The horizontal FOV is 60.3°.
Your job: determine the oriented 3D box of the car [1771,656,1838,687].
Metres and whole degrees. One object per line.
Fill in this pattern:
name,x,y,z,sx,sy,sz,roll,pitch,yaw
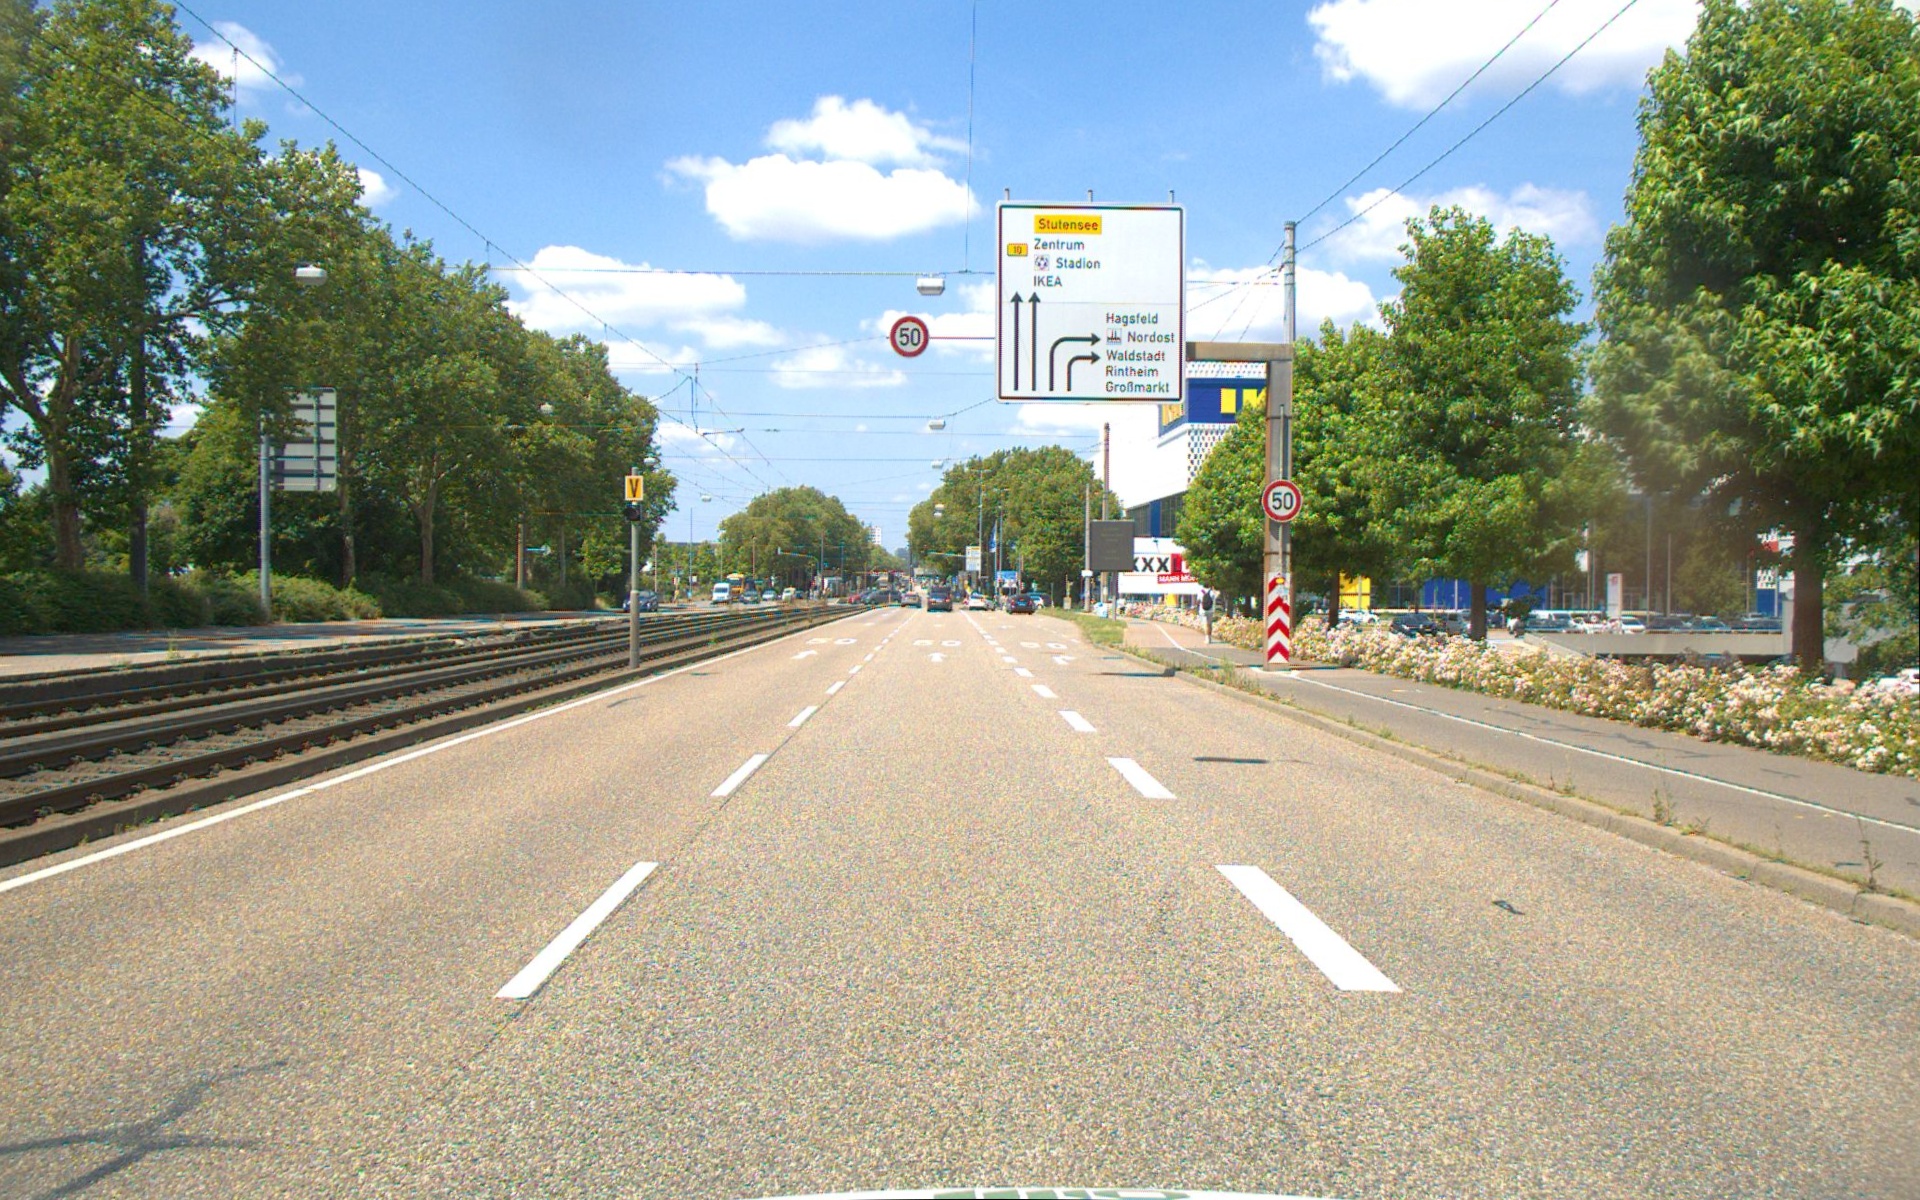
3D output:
car,47.742,4.030,93.608,1.705,1.508,3.963,2,0,0

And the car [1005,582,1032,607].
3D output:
car,4.527,-0.425,128.312,1.861,1.837,3.976,2,0,0

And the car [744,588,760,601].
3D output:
car,-25.981,-0.664,206.458,1.590,1.576,3.703,2,0,-1

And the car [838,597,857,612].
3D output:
car,-12.028,0.465,177.243,1.805,1.576,3.775,2,0,-2

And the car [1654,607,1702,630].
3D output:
car,50.706,1.307,116.892,1.539,1.508,3.887,2,0,-3

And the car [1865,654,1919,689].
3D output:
car,47.428,3.579,82.983,1.705,1.508,4.239,2,0,0

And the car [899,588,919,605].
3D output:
car,-4.976,-0.322,160.478,1.805,1.576,3.775,2,0,-2

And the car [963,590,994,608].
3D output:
car,1.785,-0.101,158.854,1.651,1.576,3.984,2,0,21

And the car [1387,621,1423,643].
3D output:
car,34.393,2.486,127.784,1.539,1.508,3.887,2,0,-3

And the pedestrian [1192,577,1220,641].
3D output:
pedestrian,7.204,0.253,48.488,0.655,1.823,0.925,2,0,1

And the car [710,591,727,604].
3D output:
car,-29.620,-0.303,203.113,1.590,1.576,3.703,2,0,-1

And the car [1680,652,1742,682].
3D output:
car,43.124,3.830,95.025,1.705,1.508,3.963,2,0,0

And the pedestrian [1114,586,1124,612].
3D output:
pedestrian,10.915,-0.075,113.654,0.568,1.823,0.589,2,0,-3

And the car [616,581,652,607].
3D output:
car,-20.788,-0.373,105.511,1.612,1.577,4.214,2,0,-3

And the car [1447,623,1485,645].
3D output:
car,38.537,2.591,126.108,1.539,1.508,3.887,2,0,-3

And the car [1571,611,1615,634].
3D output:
car,45.628,1.626,119.314,1.539,1.508,3.887,2,0,-3

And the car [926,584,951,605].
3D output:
car,-1.690,-0.453,127.476,1.838,1.566,3.776,2,0,-2

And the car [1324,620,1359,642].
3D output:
car,29.033,2.315,125.902,1.539,1.508,3.887,2,0,-3
